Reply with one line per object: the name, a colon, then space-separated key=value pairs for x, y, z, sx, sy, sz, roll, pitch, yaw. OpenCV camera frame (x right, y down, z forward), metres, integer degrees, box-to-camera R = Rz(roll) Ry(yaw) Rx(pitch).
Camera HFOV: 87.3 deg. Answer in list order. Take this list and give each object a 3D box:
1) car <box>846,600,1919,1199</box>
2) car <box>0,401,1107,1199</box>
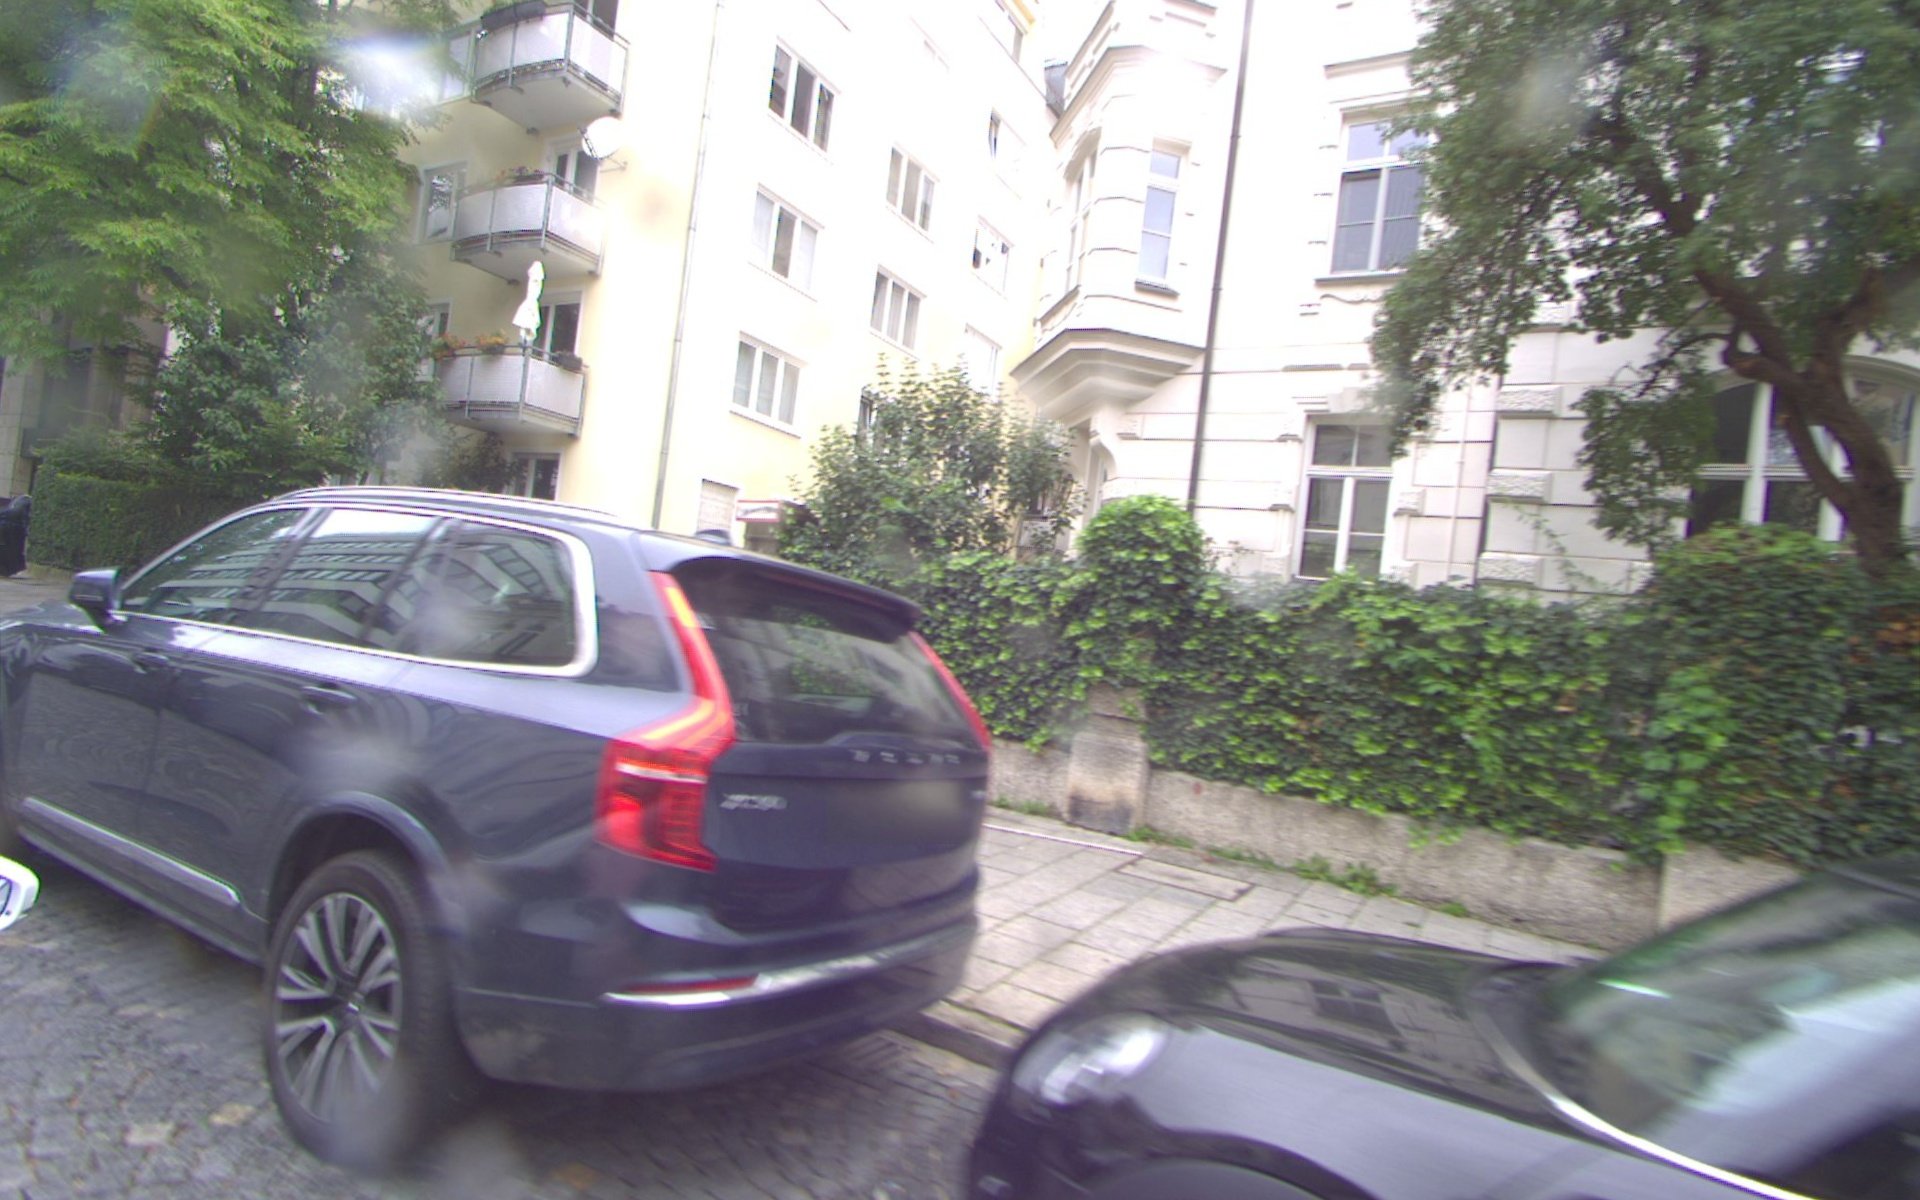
car: x=1.920 y=1.017 z=1.600 sx=3.899 sy=1.468 sz=1.688 roll=6 pitch=-4 yaw=31
car: x=-2.142 y=0.384 z=4.012 sx=4.871 sy=1.779 sz=1.968 roll=6 pitch=-2 yaw=31
